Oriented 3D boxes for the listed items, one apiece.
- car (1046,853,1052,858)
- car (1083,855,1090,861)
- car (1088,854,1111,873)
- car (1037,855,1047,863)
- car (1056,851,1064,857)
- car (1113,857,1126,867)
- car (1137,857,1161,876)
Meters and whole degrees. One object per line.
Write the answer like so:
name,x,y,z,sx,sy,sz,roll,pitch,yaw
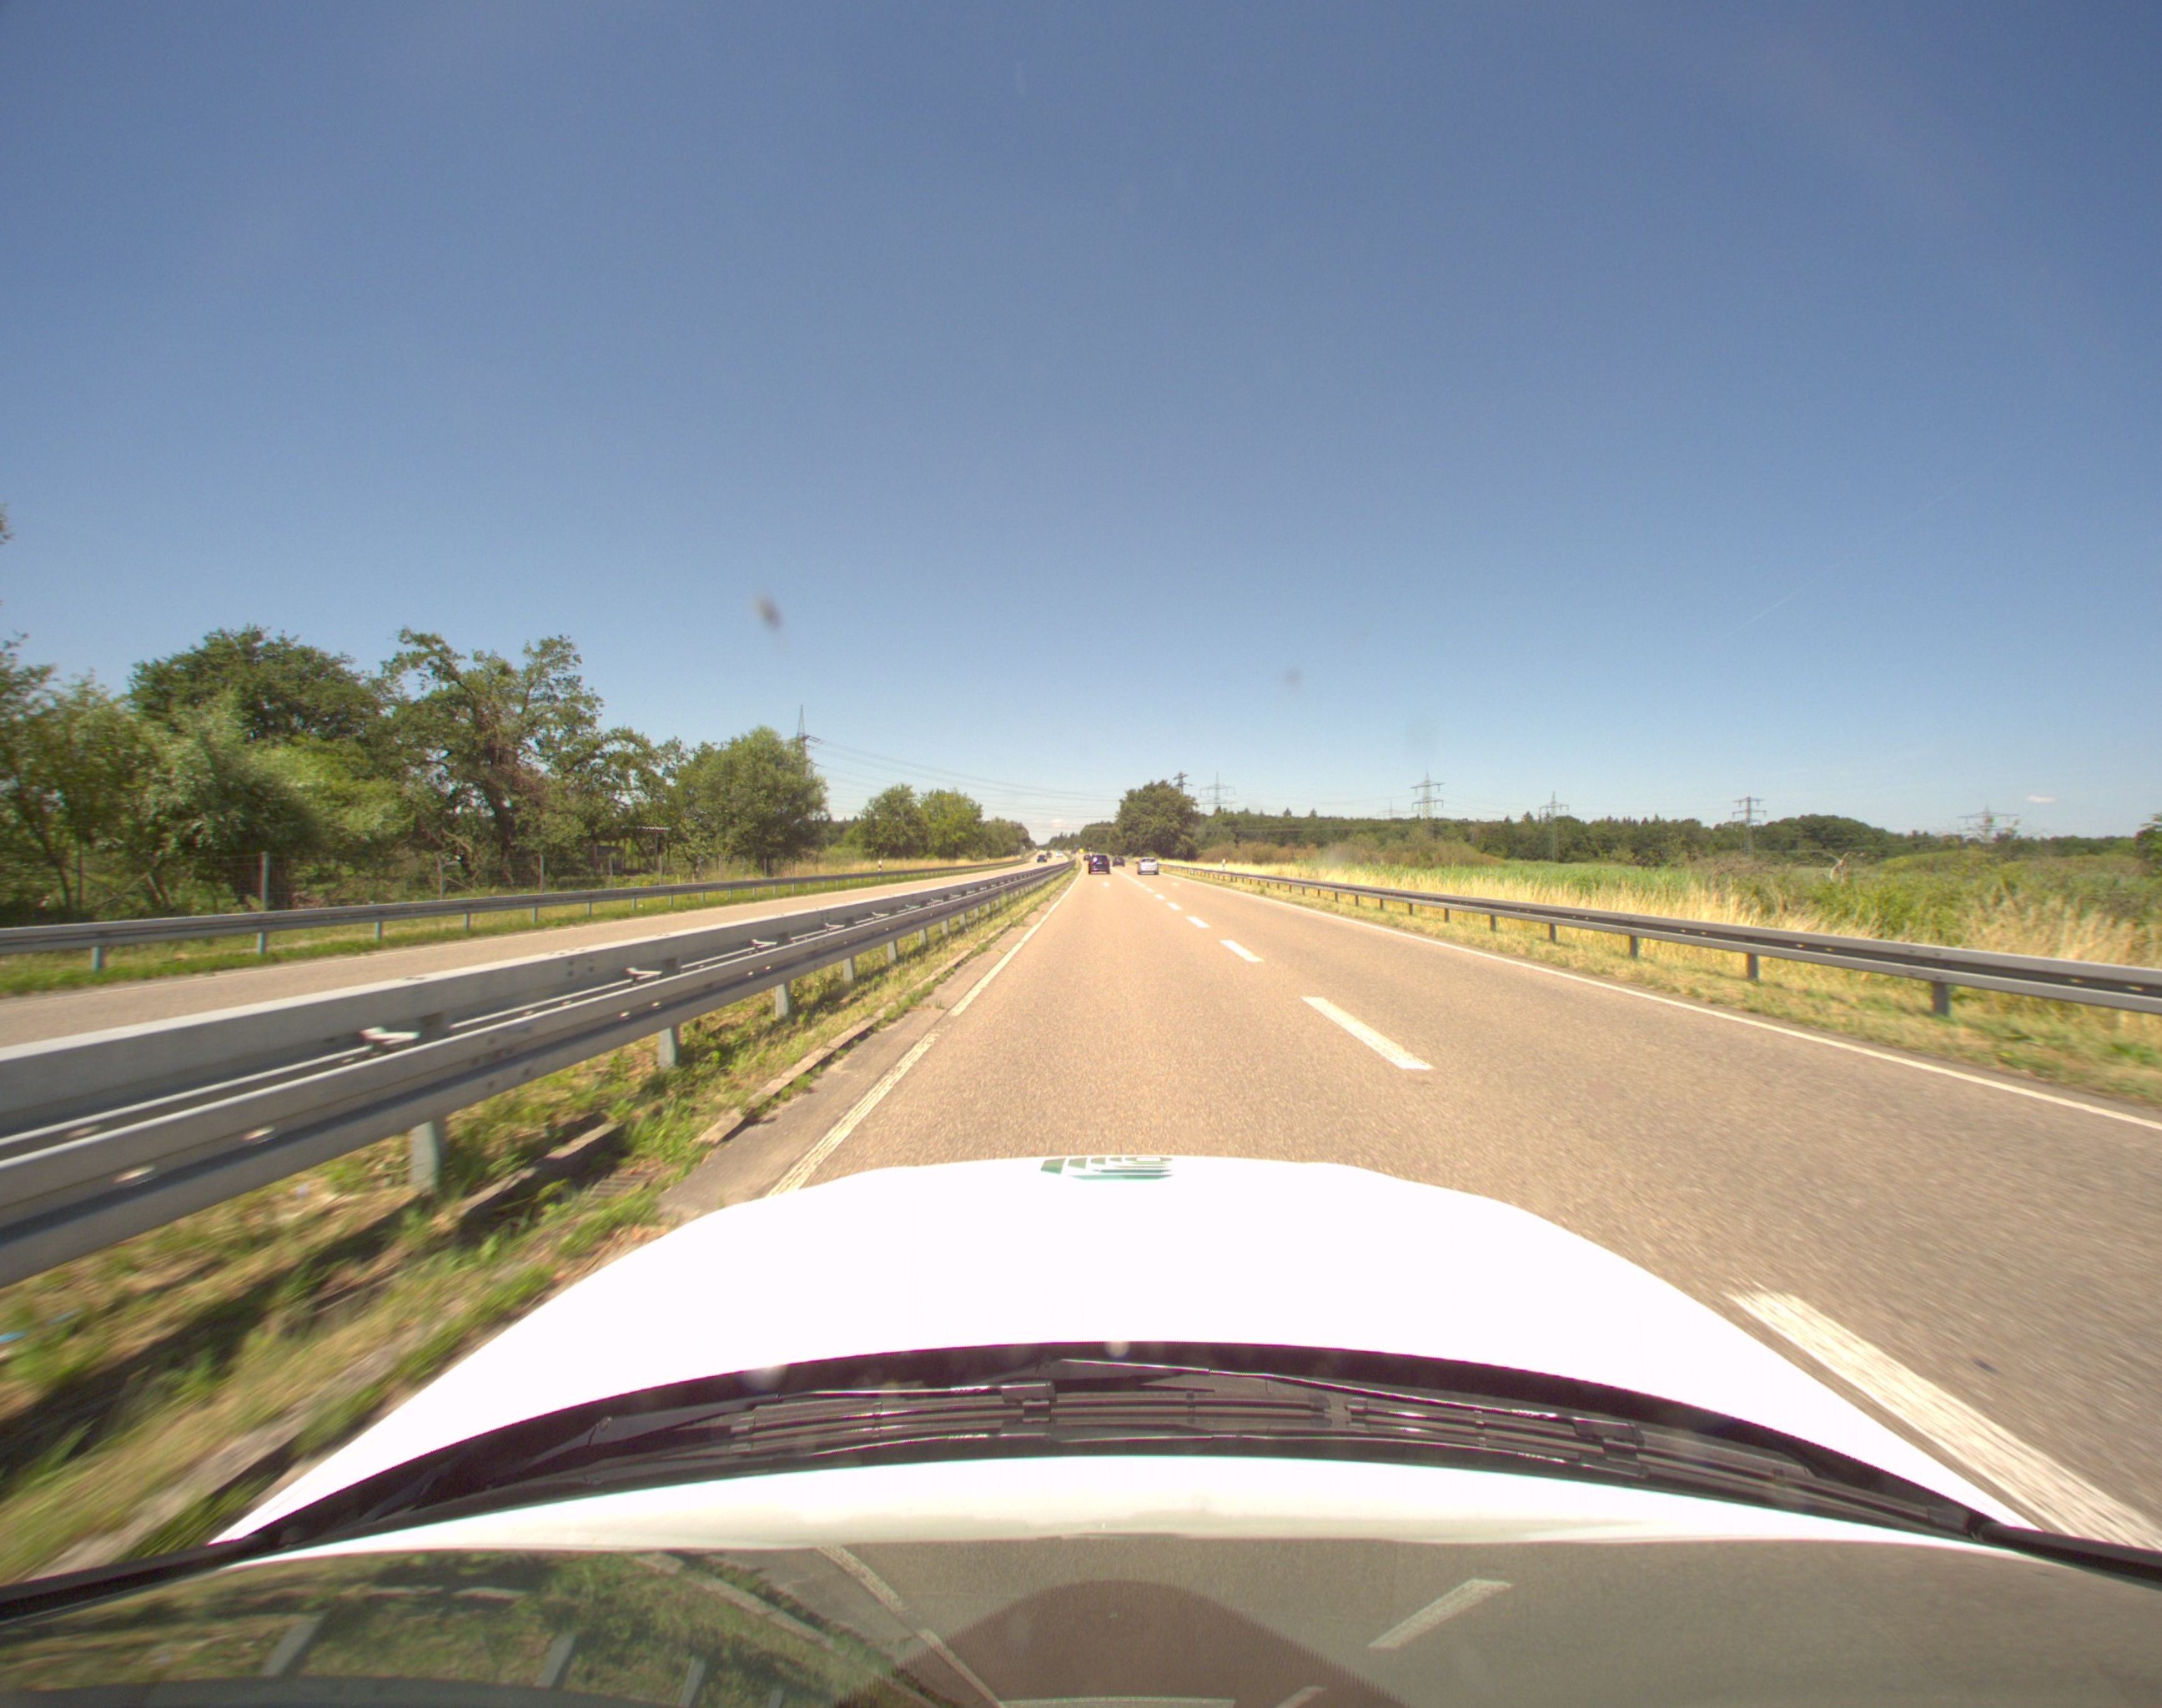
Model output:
car,-9.688,0.434,248.127,1.610,1.475,3.064,0,0,-1
car,1.288,0.977,189.687,1.510,1.475,3.064,0,0,-2
car,1.678,0.850,71.851,1.986,1.654,4.001,0,0,2
car,-7.928,0.973,166.806,1.826,1.475,3.682,-2,0,-1
car,-5.057,0.027,194.088,1.867,1.475,3.683,0,0,0
car,5.662,1.196,118.927,1.812,1.414,4.002,0,0,2
car,5.717,1.044,69.093,1.772,1.479,4.317,0,0,2
